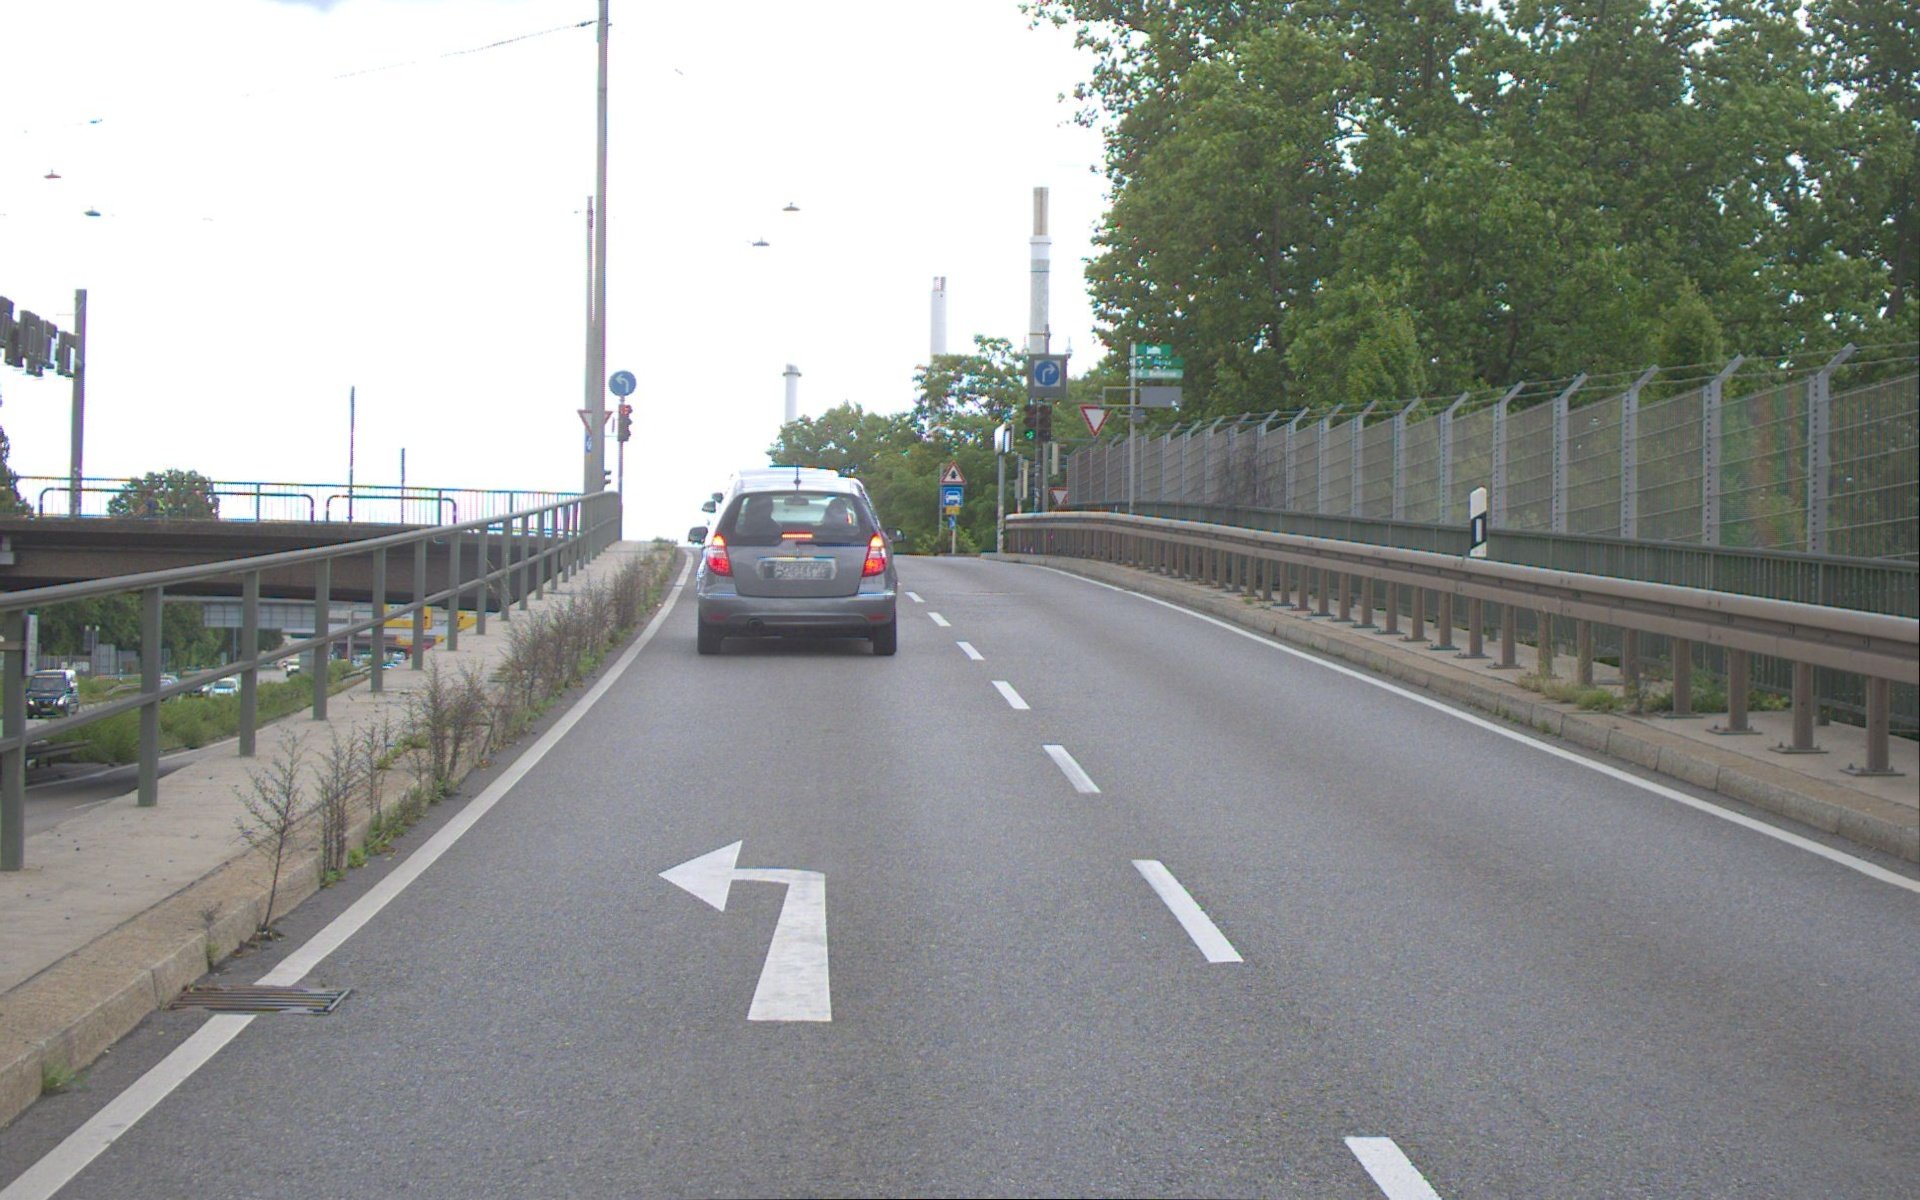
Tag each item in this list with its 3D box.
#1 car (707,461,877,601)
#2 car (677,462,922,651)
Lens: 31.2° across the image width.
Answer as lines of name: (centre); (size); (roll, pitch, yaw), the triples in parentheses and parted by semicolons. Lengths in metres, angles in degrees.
car: (-2.077, -0.898, 42.599); (1.993, 1.597, 4.001); (0, 3, -3)
car: (-1.395, -0.368, 31.342); (1.750, 1.575, 4.084); (1, 0, 4)
